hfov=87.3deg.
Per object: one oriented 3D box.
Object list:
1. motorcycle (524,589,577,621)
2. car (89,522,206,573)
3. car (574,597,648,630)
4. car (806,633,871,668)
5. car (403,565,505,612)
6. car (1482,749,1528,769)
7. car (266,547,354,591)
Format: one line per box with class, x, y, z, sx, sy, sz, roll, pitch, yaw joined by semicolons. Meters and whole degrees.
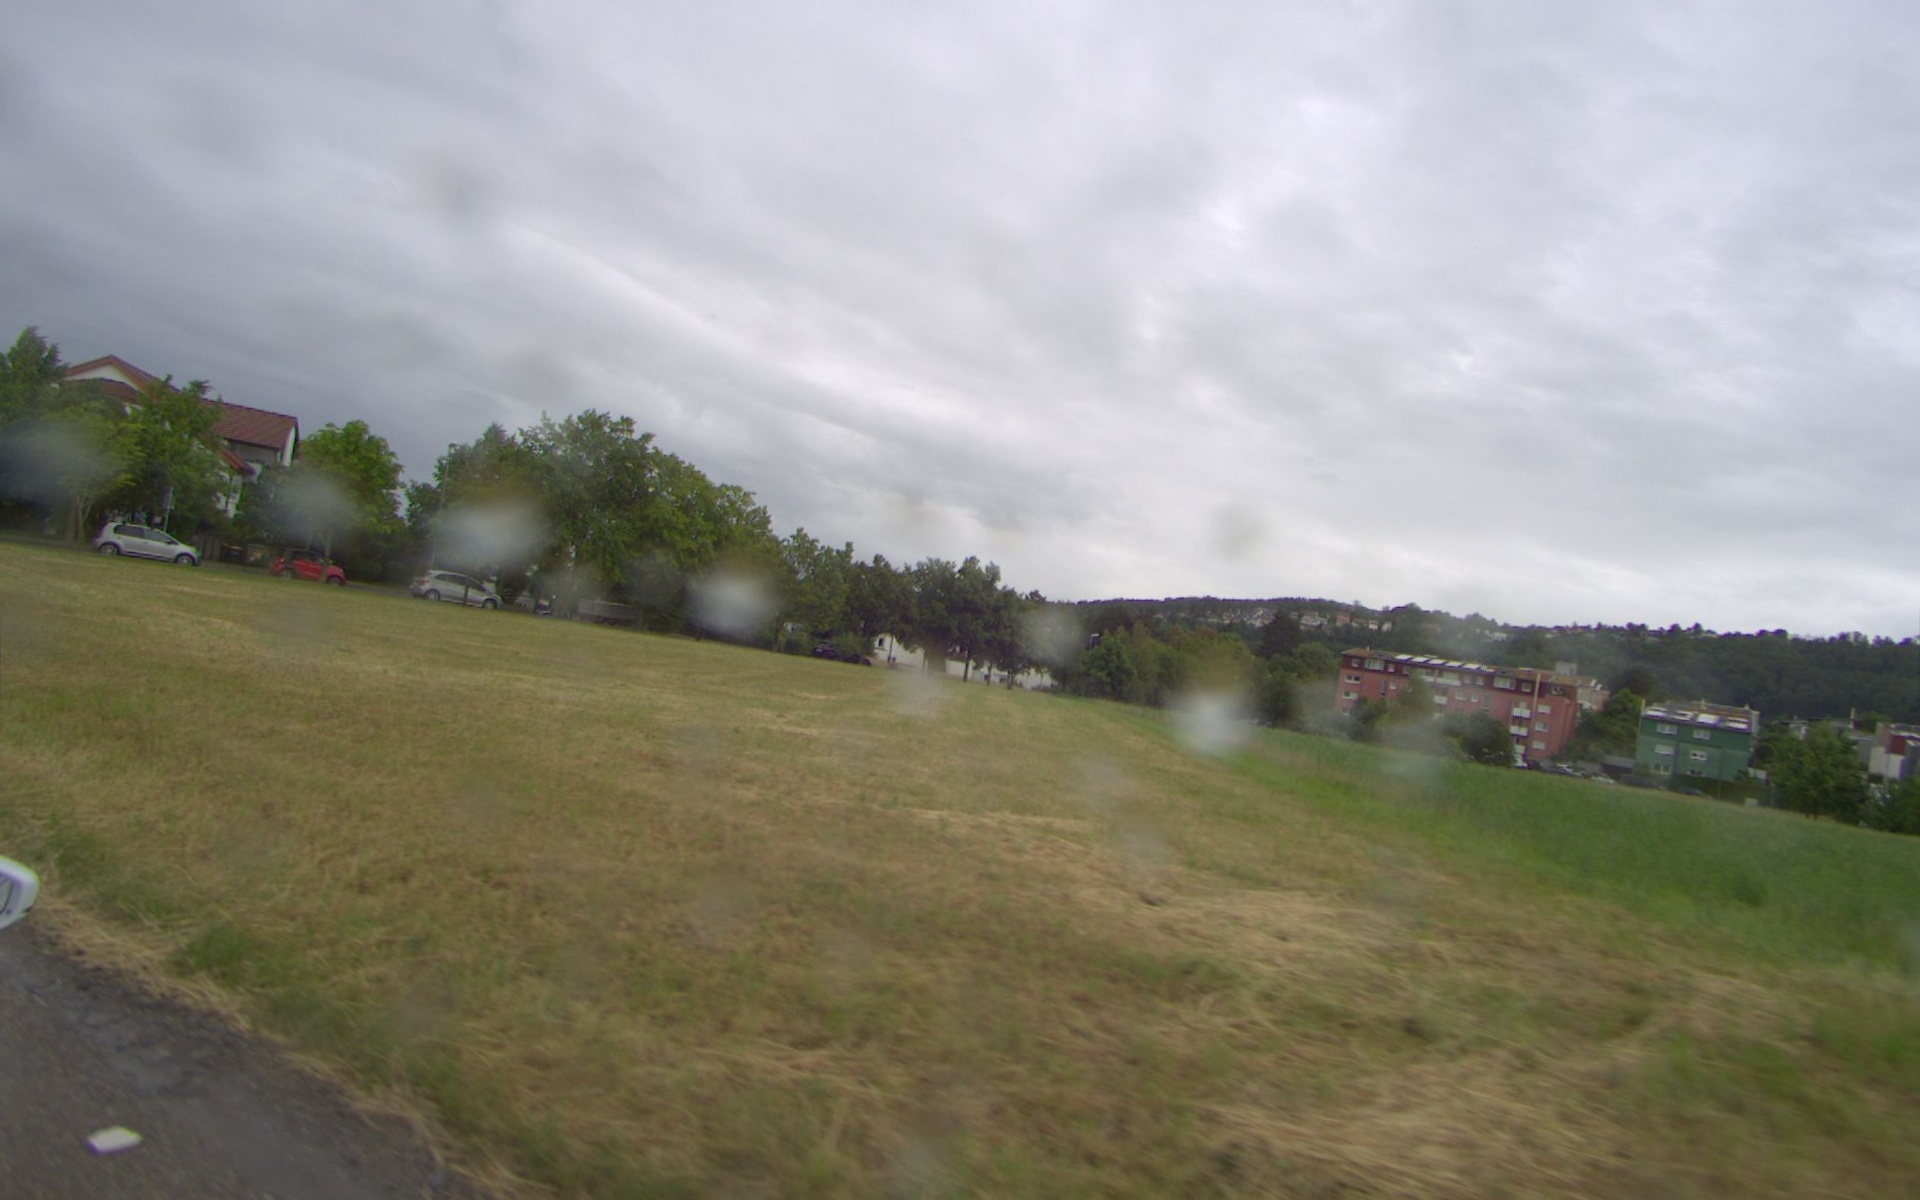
motorcycle;-21.470;0.262;52.789;0.958;1.316;2.257;7;-4;42
car;-33.259;-2.139;41.232;3.532;1.496;1.661;10;-4;-42
car;-19.266;0.765;55.611;1.710;1.295;3.316;6;-4;42
car;-8.247;3.439;68.725;1.934;1.623;3.992;6;-6;41
car;-24.971;-0.547;49.703;1.827;1.568;3.975;6;-4;43
car;77.494;22.624;143.132;1.989;2.036;5.216;9;-3;-44
car;-29.187;-1.397;45.222;2.995;1.451;1.536;11;-4;-42
